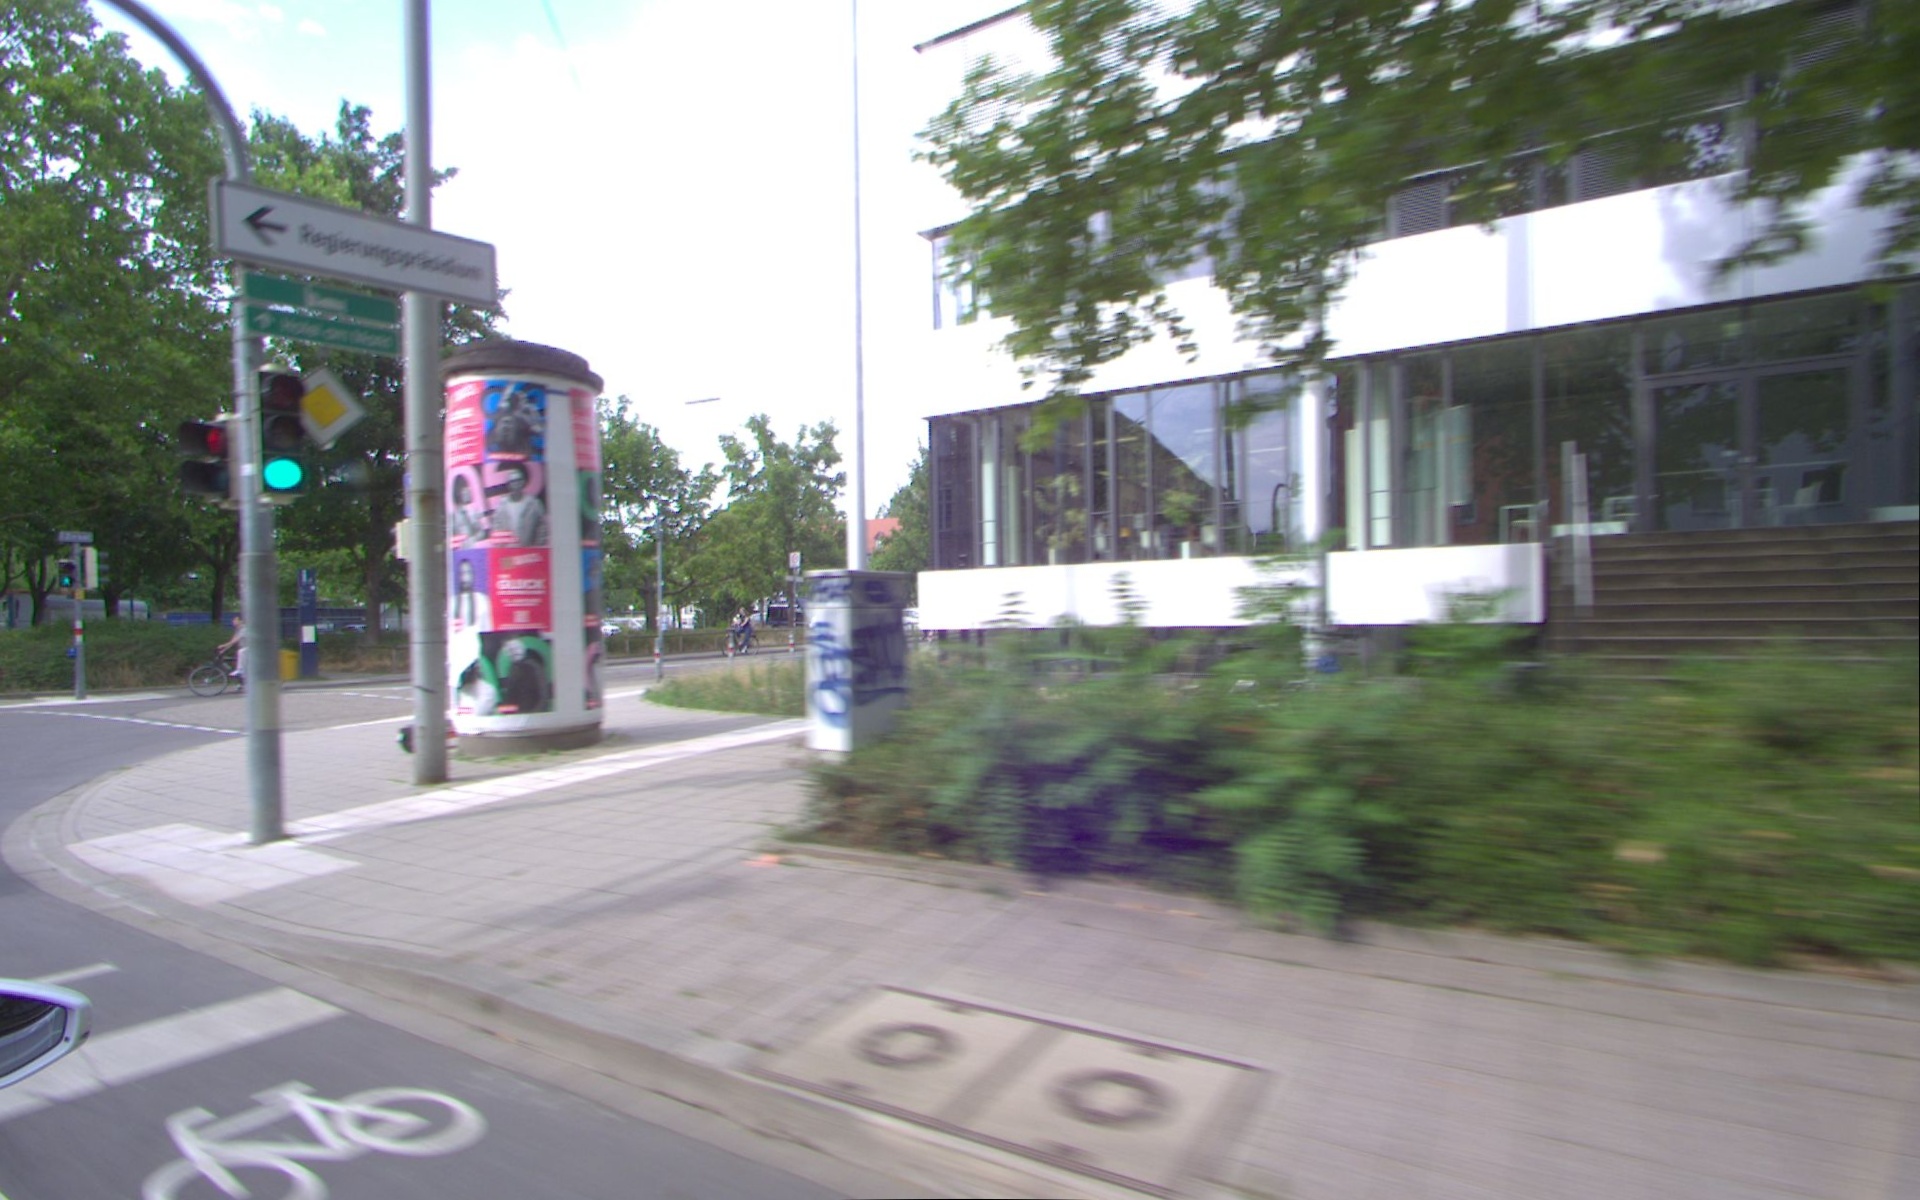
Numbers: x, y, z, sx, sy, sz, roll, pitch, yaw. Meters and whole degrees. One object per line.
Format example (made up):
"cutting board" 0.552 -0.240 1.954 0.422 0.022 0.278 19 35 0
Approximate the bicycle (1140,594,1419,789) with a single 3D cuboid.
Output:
"bicycle" 2.165 0.590 6.863 1.701 1.183 0.697 -1 -2 32

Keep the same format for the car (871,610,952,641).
"car" -2.995 1.592 61.583 4.701 1.817 1.992 -1 -2 30

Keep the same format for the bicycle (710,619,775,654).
"bicycle" -7.855 1.315 36.230 0.904 1.187 2.237 -3 -2 36

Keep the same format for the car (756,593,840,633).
"car" -11.221 0.964 69.213 5.414 2.646 2.433 -1 -2 30

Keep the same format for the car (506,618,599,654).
"car" -21.238 1.895 52.141 4.701 1.817 1.992 -1 -2 29

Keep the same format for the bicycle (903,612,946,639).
"bicycle" -1.650 1.187 47.176 0.903 1.187 2.240 -3 -2 32

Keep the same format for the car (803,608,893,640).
"car" -6.141 1.330 54.590 4.707 1.651 1.990 -2 -3 33

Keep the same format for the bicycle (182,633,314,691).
"bicycle" -15.914 1.362 22.436 0.904 1.187 2.237 -3 -2 36

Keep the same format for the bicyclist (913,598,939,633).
"bicyclist" -1.604 0.739 47.246 0.903 1.597 0.827 -3 -1 33

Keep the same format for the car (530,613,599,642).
"car" -28.429 1.998 71.951 4.698 2.039 1.993 -1 -2 27

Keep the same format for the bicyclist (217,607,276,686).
"bicyclist" -15.957 1.036 22.399 0.904 1.699 0.826 -3 -1 36

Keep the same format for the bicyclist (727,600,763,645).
"bicyclist" -7.798 0.814 36.342 0.904 1.597 0.826 -3 -1 36

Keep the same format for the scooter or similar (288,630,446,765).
"scooter or similar" -5.993 0.951 10.175 0.340 1.225 1.301 -1 2 36
